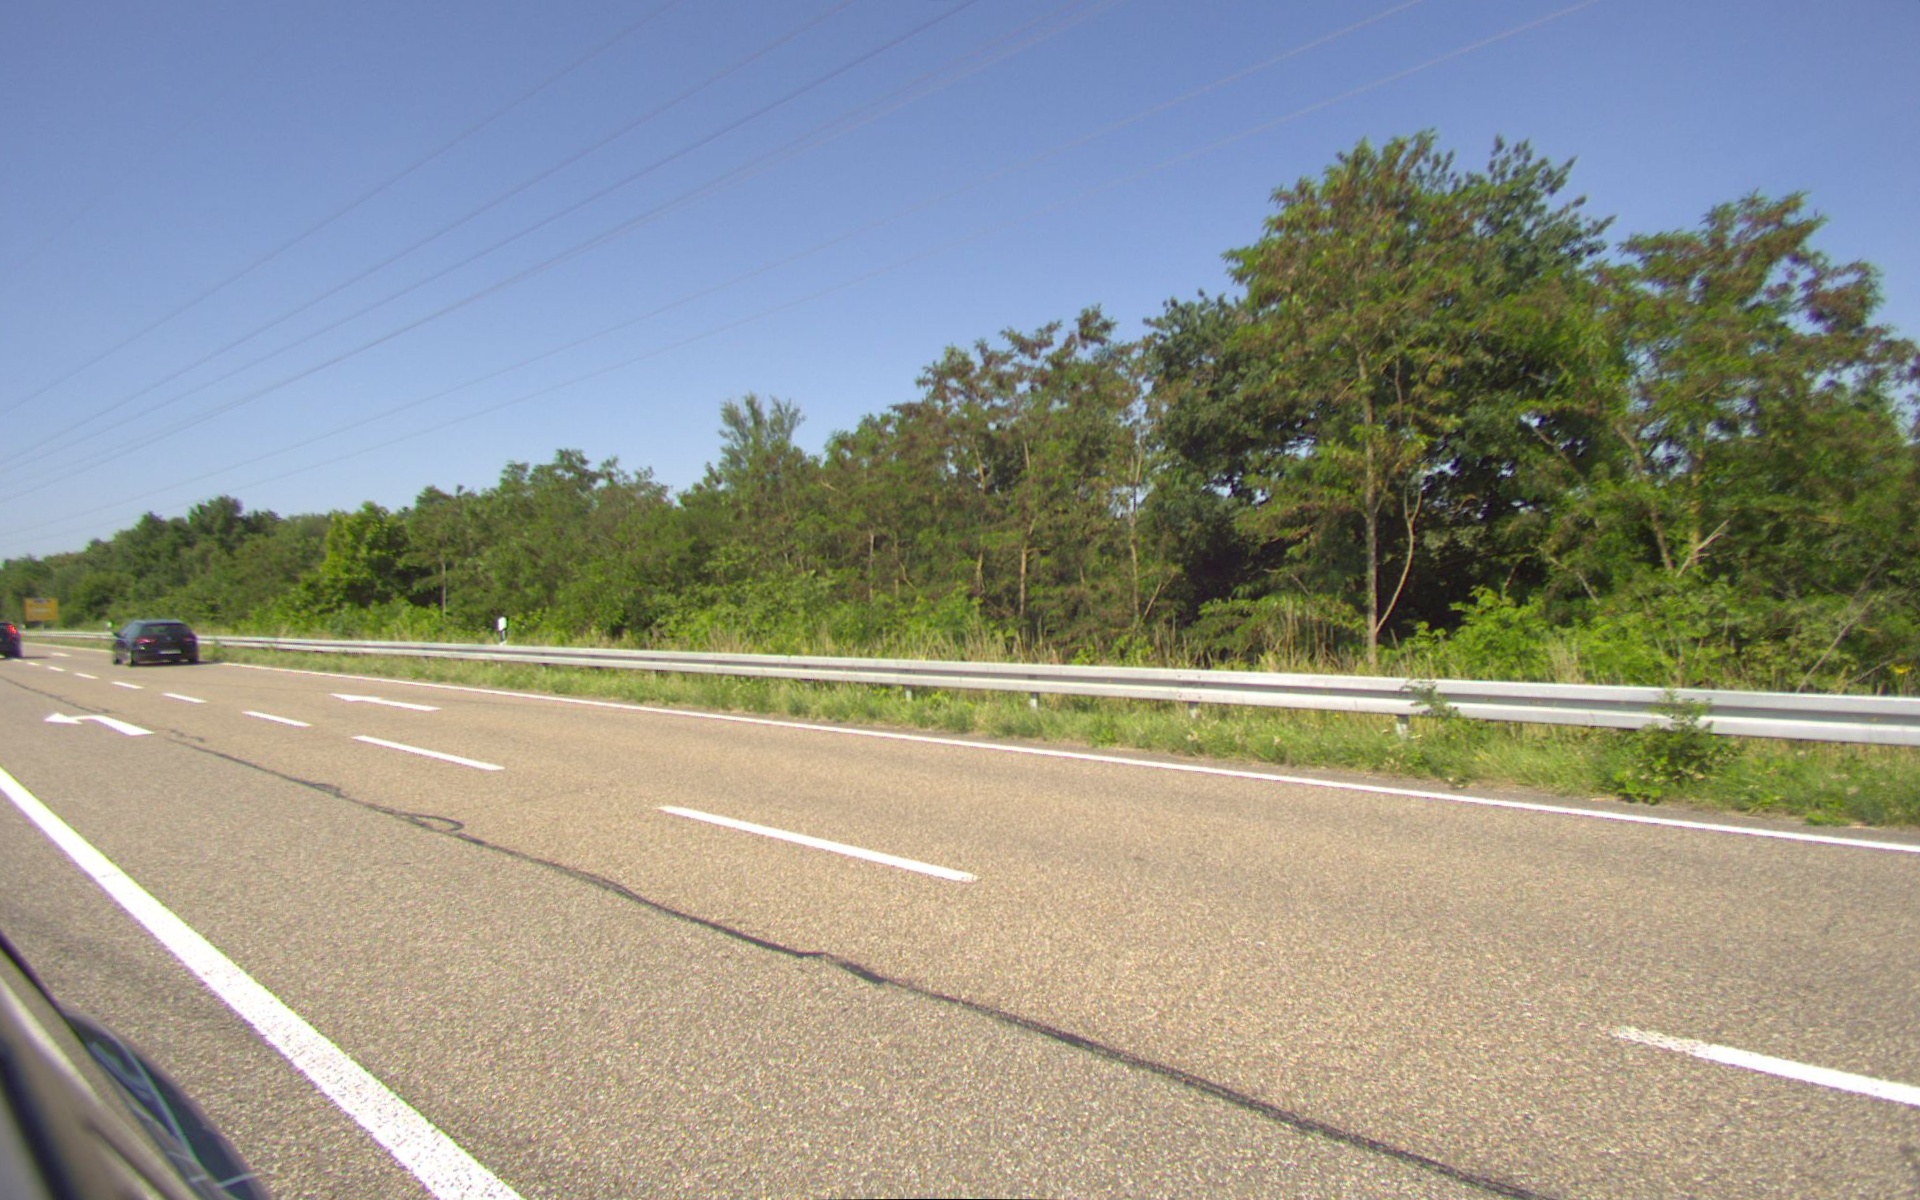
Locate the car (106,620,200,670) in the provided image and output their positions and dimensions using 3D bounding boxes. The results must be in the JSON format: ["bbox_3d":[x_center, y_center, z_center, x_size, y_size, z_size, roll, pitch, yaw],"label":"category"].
[{"bbox_3d":[-25.567,1.386,32.020,4.212,1.453,1.642,-1,0,42],"label":"car"}]

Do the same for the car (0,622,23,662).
[{"bbox_3d":[-38.664,1.672,40.134,4.420,1.502,1.710,-1,0,41],"label":"car"}]
